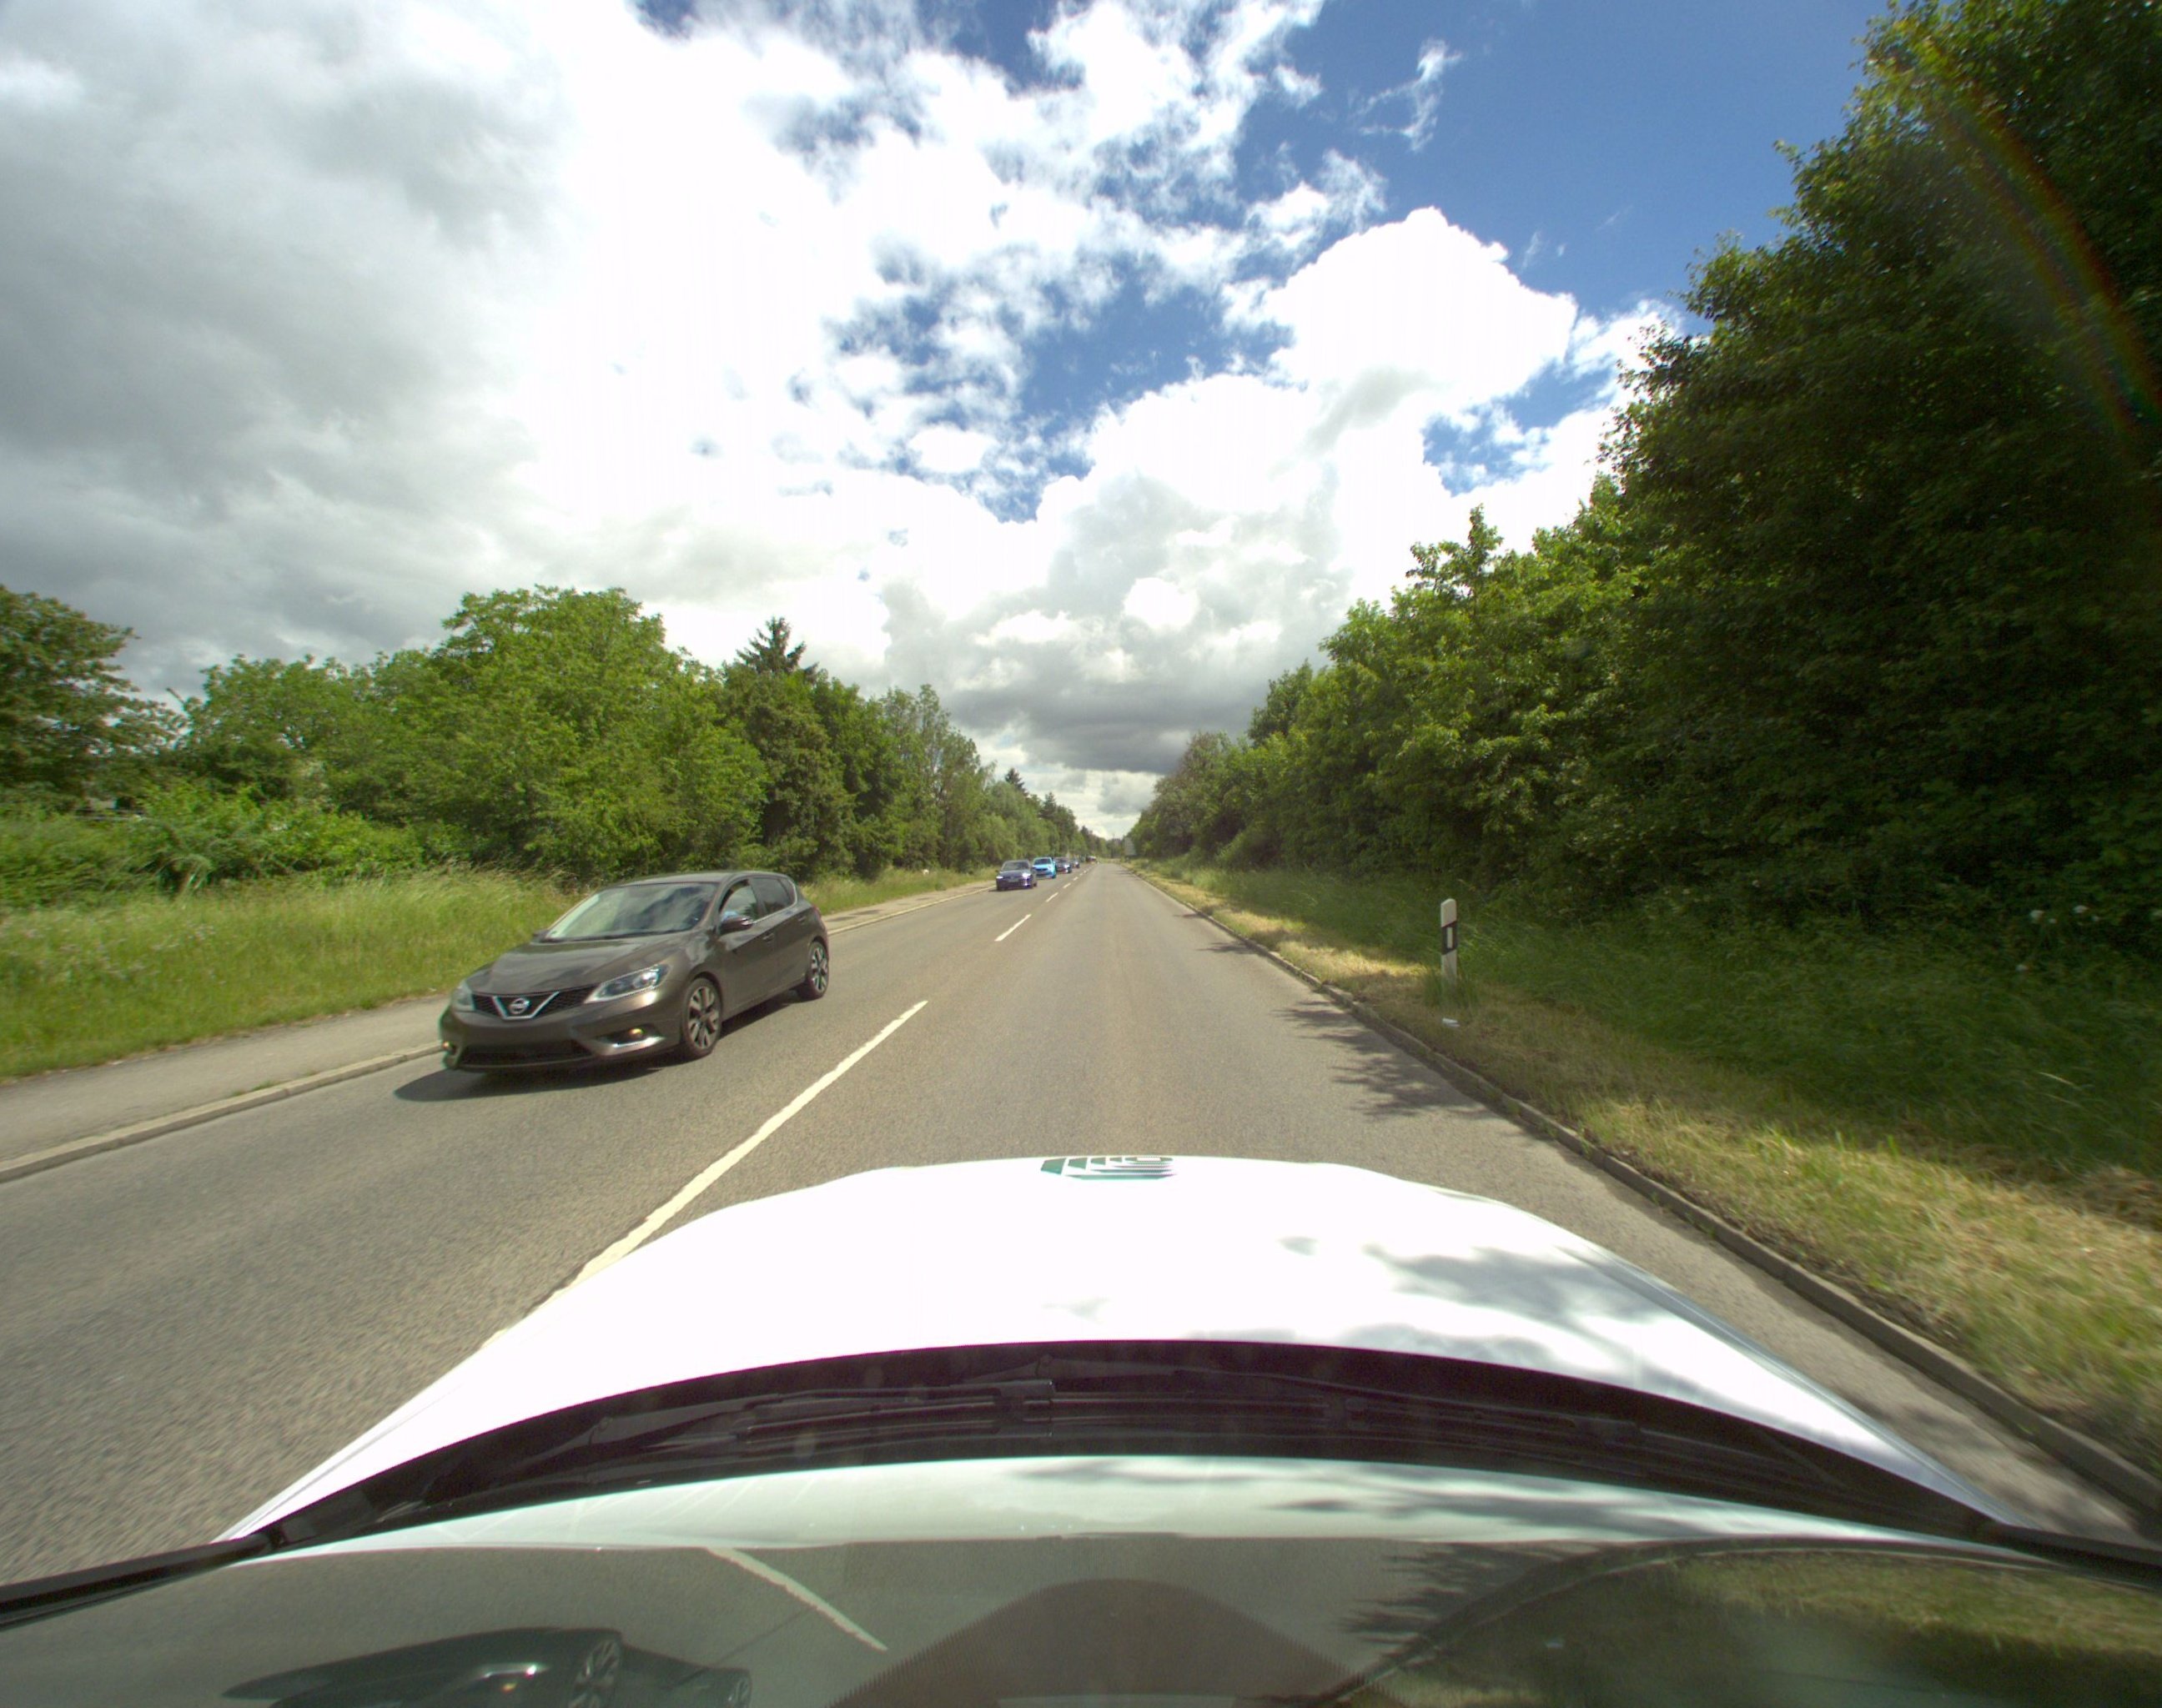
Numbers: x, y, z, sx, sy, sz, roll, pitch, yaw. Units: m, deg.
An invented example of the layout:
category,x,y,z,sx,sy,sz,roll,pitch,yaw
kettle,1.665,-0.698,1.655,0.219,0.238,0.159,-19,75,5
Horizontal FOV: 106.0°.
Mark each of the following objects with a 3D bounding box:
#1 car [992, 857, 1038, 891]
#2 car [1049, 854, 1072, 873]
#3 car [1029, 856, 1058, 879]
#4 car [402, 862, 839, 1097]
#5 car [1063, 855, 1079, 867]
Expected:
category,x,y,z,sx,sy,sz,roll,pitch,yaw
car,-3.233,0.947,40.770,1.778,1.446,4.452,-4,0,0
car,-1.844,0.841,74.953,1.878,1.491,4.717,-4,0,0
car,-2.638,0.909,57.737,1.778,1.446,2.966,-4,0,0
car,-3.828,0.901,7.716,1.710,1.471,4.000,-4,0,1
car,-1.268,0.871,104.414,1.778,1.334,4.623,-4,0,0
